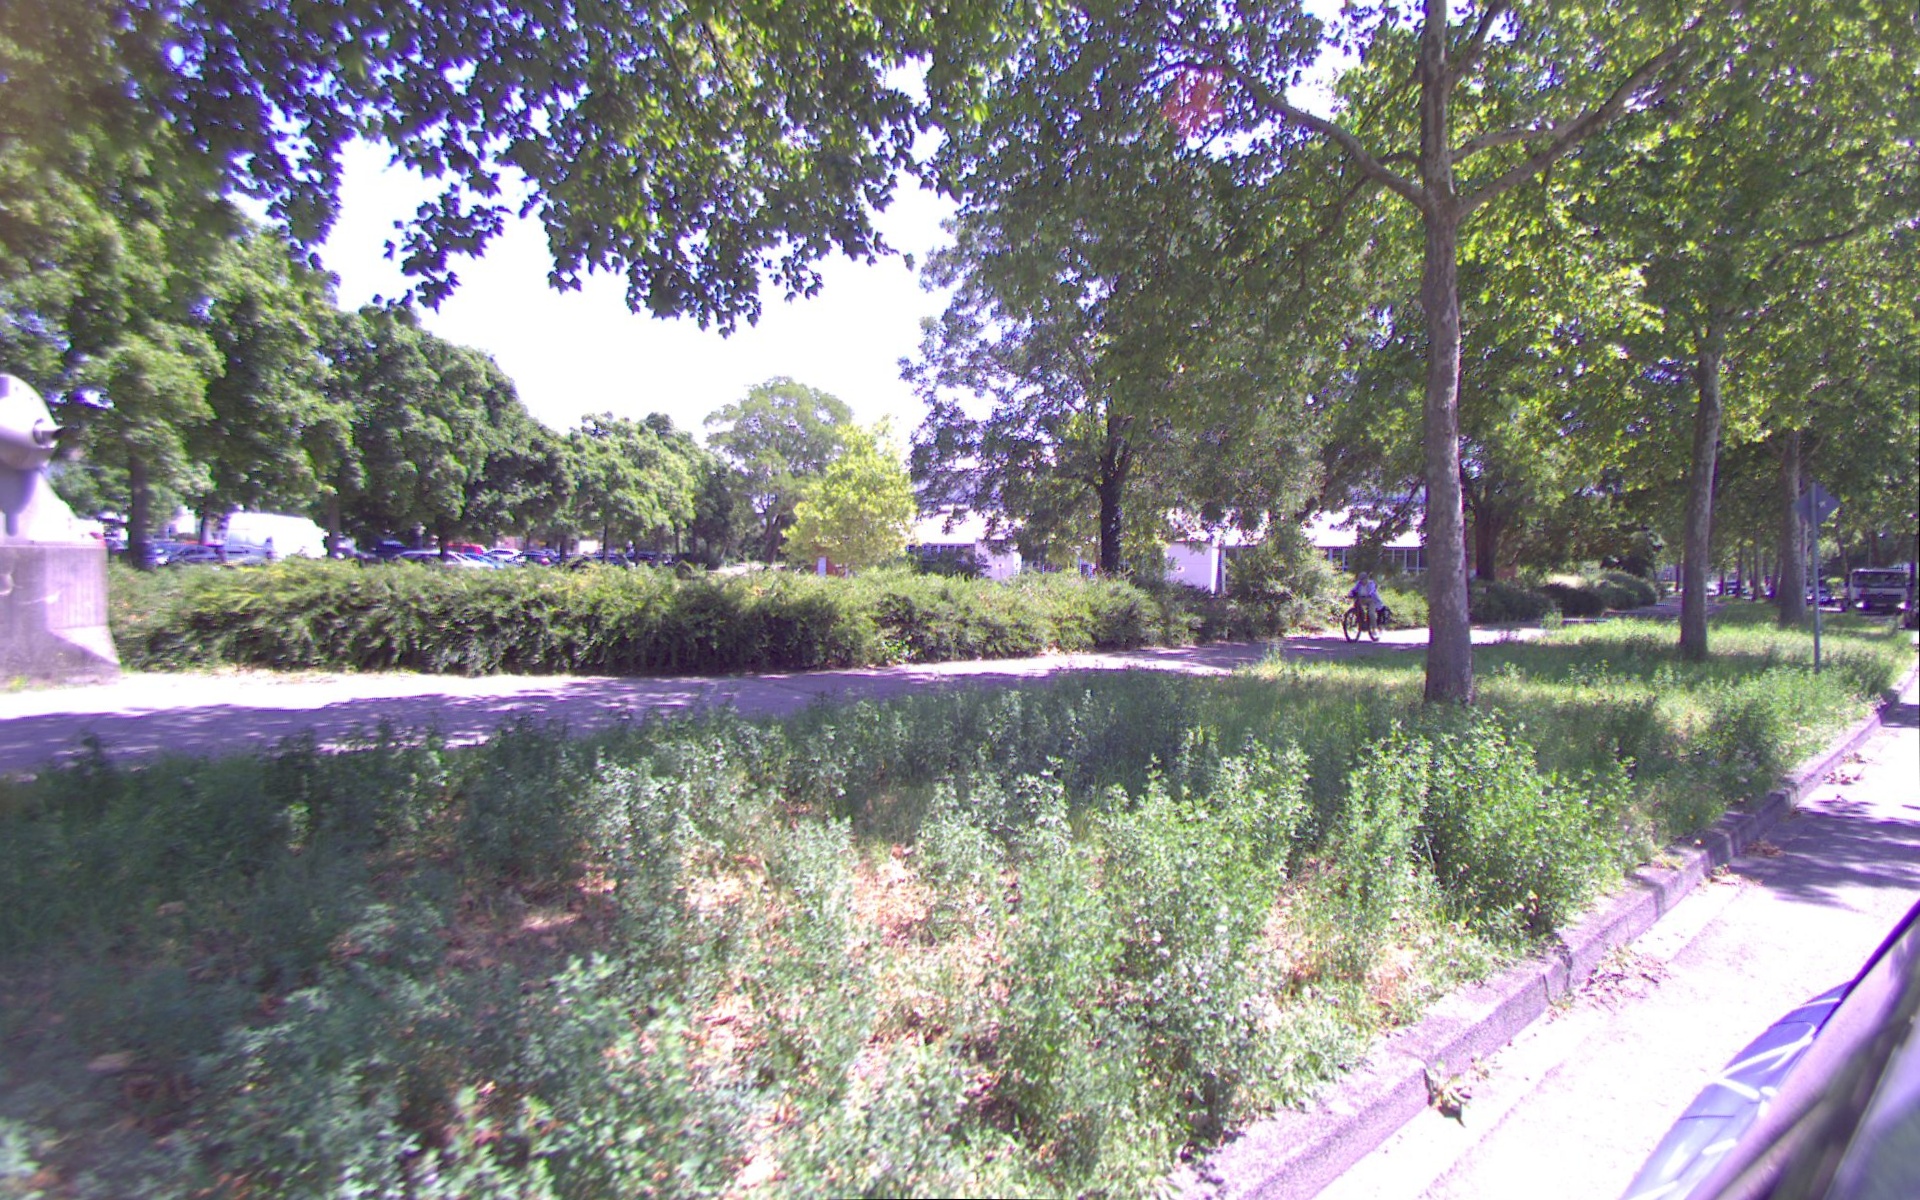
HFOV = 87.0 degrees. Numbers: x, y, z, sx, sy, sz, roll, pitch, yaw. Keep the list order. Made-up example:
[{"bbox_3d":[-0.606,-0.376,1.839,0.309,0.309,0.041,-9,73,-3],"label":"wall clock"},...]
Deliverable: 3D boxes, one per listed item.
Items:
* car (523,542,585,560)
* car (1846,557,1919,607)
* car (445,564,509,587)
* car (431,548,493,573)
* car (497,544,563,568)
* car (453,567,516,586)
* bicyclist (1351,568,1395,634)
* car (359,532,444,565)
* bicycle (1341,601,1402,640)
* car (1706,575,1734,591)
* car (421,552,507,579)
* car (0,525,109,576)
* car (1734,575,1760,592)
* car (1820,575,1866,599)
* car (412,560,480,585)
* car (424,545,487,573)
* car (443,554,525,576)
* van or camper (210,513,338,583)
[{"bbox_3d":[-63.406,-7.579,158.254,8.645,2.620,3.055,1,2,-11],"label":"car"},{"bbox_3d":[52.556,-1.030,57.288,2.902,2.687,6.285,2,2,36],"label":"car"},{"bbox_3d":[-22.476,-1.133,47.155,2.546,0.999,0.955,1,1,-10],"label":"car"},{"bbox_3d":[-24.417,-1.931,49.667,2.546,1.141,1.009,1,1,-10],"label":"car"},{"bbox_3d":[-25.899,-2.640,61.025,3.356,1.382,1.721,1,2,-10],"label":"car"},{"bbox_3d":[-22.707,-1.101,48.341,2.546,0.852,0.955,1,1,-10],"label":"car"},{"bbox_3d":[8.795,0.012,21.551,0.654,1.355,0.600,0,2,-39],"label":"bicyclist"},{"bbox_3d":[-36.253,-3.310,65.810,4.332,2.038,2.250,1,2,-7],"label":"car"},{"bbox_3d":[8.780,0.422,21.551,1.638,0.773,0.465,0,2,-40],"label":"bicycle"},{"bbox_3d":[96.162,-2.151,128.145,1.979,1.860,3.966,2,2,25],"label":"car"},{"bbox_3d":[-24.279,-1.691,49.614,3.500,1.240,1.623,1,2,-10],"label":"car"},{"bbox_3d":[-38.762,-2.063,42.705,2.033,2.027,4.668,1,2,-4],"label":"car"},{"bbox_3d":[90.479,-1.865,116.423,1.987,1.860,3.952,2,2,34],"label":"car"},{"bbox_3d":[65.602,-0.987,75.219,1.986,1.638,3.953,2,2,33],"label":"car"},{"bbox_3d":[-23.069,-1.241,45.485,2.546,1.049,0.955,1,1,-10],"label":"car"},{"bbox_3d":[-38.786,-3.170,77.900,3.918,2.038,1.970,1,1,-8],"label":"car"},{"bbox_3d":[-24.491,-1.794,52.196,3.493,1.047,1.685,1,2,-10],"label":"car"},{"bbox_3d":[-29.182,-2.180,43.288,2.160,2.785,5.134,1,2,-2],"label":"van or camper"}]
